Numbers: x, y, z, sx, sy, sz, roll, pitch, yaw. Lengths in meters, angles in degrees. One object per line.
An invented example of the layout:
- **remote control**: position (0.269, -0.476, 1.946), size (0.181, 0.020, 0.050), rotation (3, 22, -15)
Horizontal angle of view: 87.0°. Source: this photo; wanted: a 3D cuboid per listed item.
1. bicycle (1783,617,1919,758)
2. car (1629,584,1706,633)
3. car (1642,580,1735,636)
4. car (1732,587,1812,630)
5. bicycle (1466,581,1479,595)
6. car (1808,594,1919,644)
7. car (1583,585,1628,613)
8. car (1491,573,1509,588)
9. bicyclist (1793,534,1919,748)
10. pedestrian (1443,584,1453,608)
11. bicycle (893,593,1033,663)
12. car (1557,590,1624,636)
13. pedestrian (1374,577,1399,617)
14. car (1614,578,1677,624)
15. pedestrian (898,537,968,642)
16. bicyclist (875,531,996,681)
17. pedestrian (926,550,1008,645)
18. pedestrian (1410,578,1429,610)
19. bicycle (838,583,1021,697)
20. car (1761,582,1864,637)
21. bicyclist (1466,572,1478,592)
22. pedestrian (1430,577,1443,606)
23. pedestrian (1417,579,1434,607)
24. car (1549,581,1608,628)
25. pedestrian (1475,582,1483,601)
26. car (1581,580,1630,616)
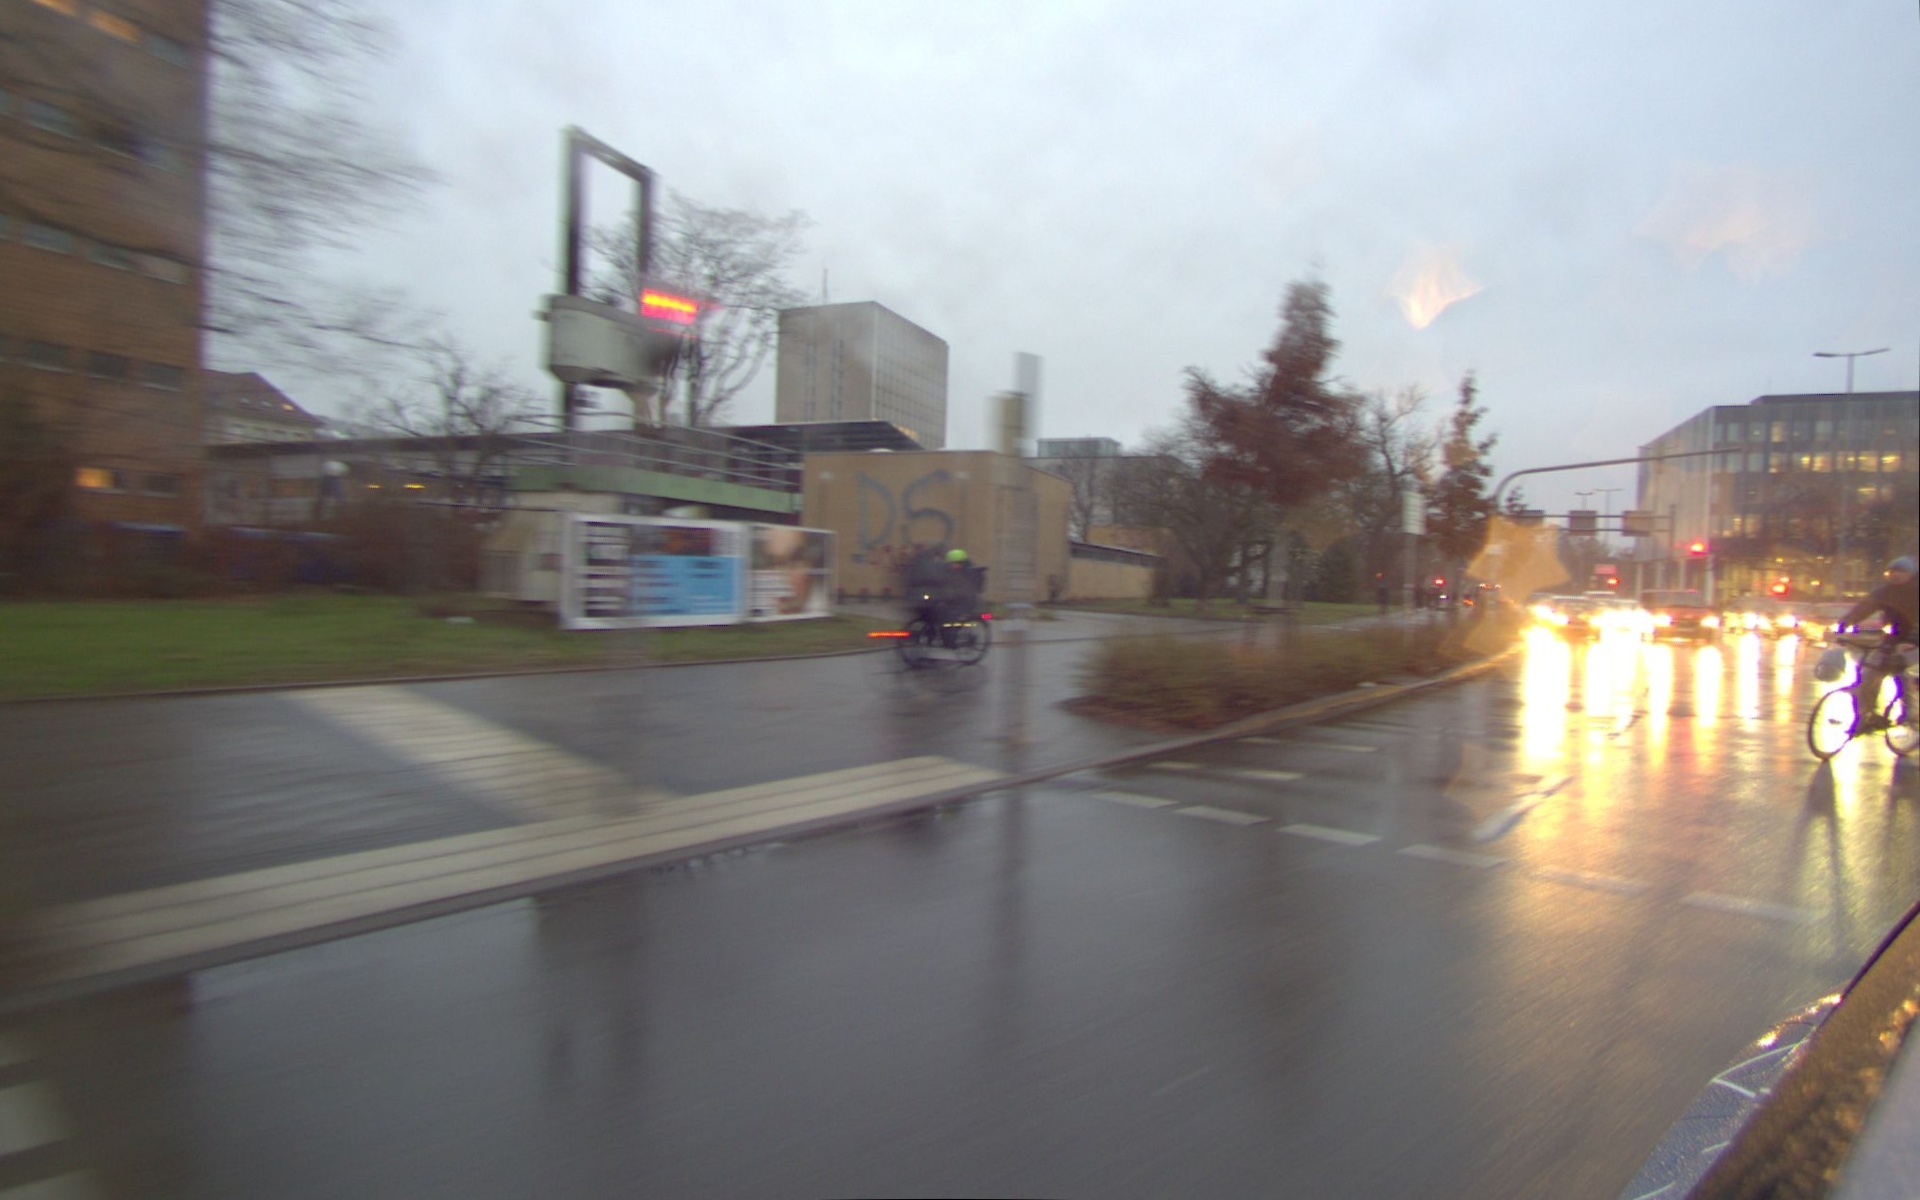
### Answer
- **bicycle**: position (8.965, 0.795, 9.600), size (1.864, 1.238, 0.796), rotation (1, 0, -12)
- **car**: position (29.124, 0.299, 41.788), size (1.982, 1.771, 4.427), rotation (3, 2, 28)
- **car**: position (26.371, 0.222, 36.817), size (1.982, 1.771, 4.898), rotation (3, 2, 28)
- **car**: position (36.797, 0.337, 45.990), size (1.982, 1.771, 4.427), rotation (2, 2, 28)
- **bicycle**: position (39.875, -0.962, 78.778), size (0.787, 1.028, 2.875), rotation (3, 3, 28)
- **car**: position (30.115, 0.574, 33.703), size (1.914, 1.393, 4.455), rotation (3, 3, 28)
- **car**: position (41.162, -0.084, 64.624), size (1.982, 1.586, 4.716), rotation (4, 3, 28)
- **car**: position (73.753, -2.681, 138.269), size (2.123, 1.838, 3.962), rotation (3, 3, 27)
- **bicyclist**: position (8.931, 0.363, 9.603), size (1.210, 1.907, 1.029), rotation (1, 0, -12)
- **pedestrian**: position (42.785, -0.390, 88.742), size (0.759, 2.038, 0.766), rotation (2, 2, 27)
- **bicycle**: position (0.060, 0.397, 14.879), size (2.054, 0.958, 0.564), rotation (1, 2, -32)
- **car**: position (23.497, 0.437, 37.841), size (1.758, 1.504, 4.427), rotation (3, 2, 28)
- **pedestrian**: position (20.218, -0.165, 47.977), size (0.925, 1.848, 0.826), rotation (3, 2, 28)
- **car**: position (31.435, 0.009, 46.503), size (1.983, 1.927, 3.959), rotation (3, 2, 29)
- **pedestrian**: position (-0.458, -0.183, 17.568), size (0.899, 1.708, 0.924), rotation (4, 1, 14)
- **bicyclist**: position (-0.286, 0.055, 11.927), size (0.804, 1.637, 1.069), rotation (7, 4, 42)
- **pedestrian**: position (0.100, -0.046, 14.906), size (0.831, 1.333, 0.878), rotation (1, 2, -32)
- **pedestrian**: position (27.631, -0.355, 60.810), size (0.925, 1.848, 0.826), rotation (3, 2, 28)
- **bicycle**: position (-0.316, 0.429, 11.935), size (0.804, 1.155, 2.179), rotation (7, 4, 42)
- **car**: position (34.017, 0.320, 40.530), size (1.984, 1.769, 4.427), rotation (10, 6, 27)
- **bicyclist**: position (39.865, -1.423, 78.726), size (0.761, 1.508, 0.984), rotation (3, 2, 29)
- **pedestrian**: position (34.766, -0.617, 73.830), size (0.759, 2.038, 0.902), rotation (2, 2, 27)
- **pedestrian**: position (31.306, -0.485, 68.095), size (0.925, 1.848, 0.826), rotation (3, 2, 28)
- **car**: position (26.849, 0.146, 44.020), size (1.983, 1.860, 3.958), rotation (3, 2, 30)
- **pedestrian**: position (50.589, -0.862, 98.660), size (0.619, 1.822, 0.927), rotation (3, 1, 30)
- **car**: position (37.602, -0.142, 59.025), size (1.982, 1.947, 4.226), rotation (3, 2, 28)
